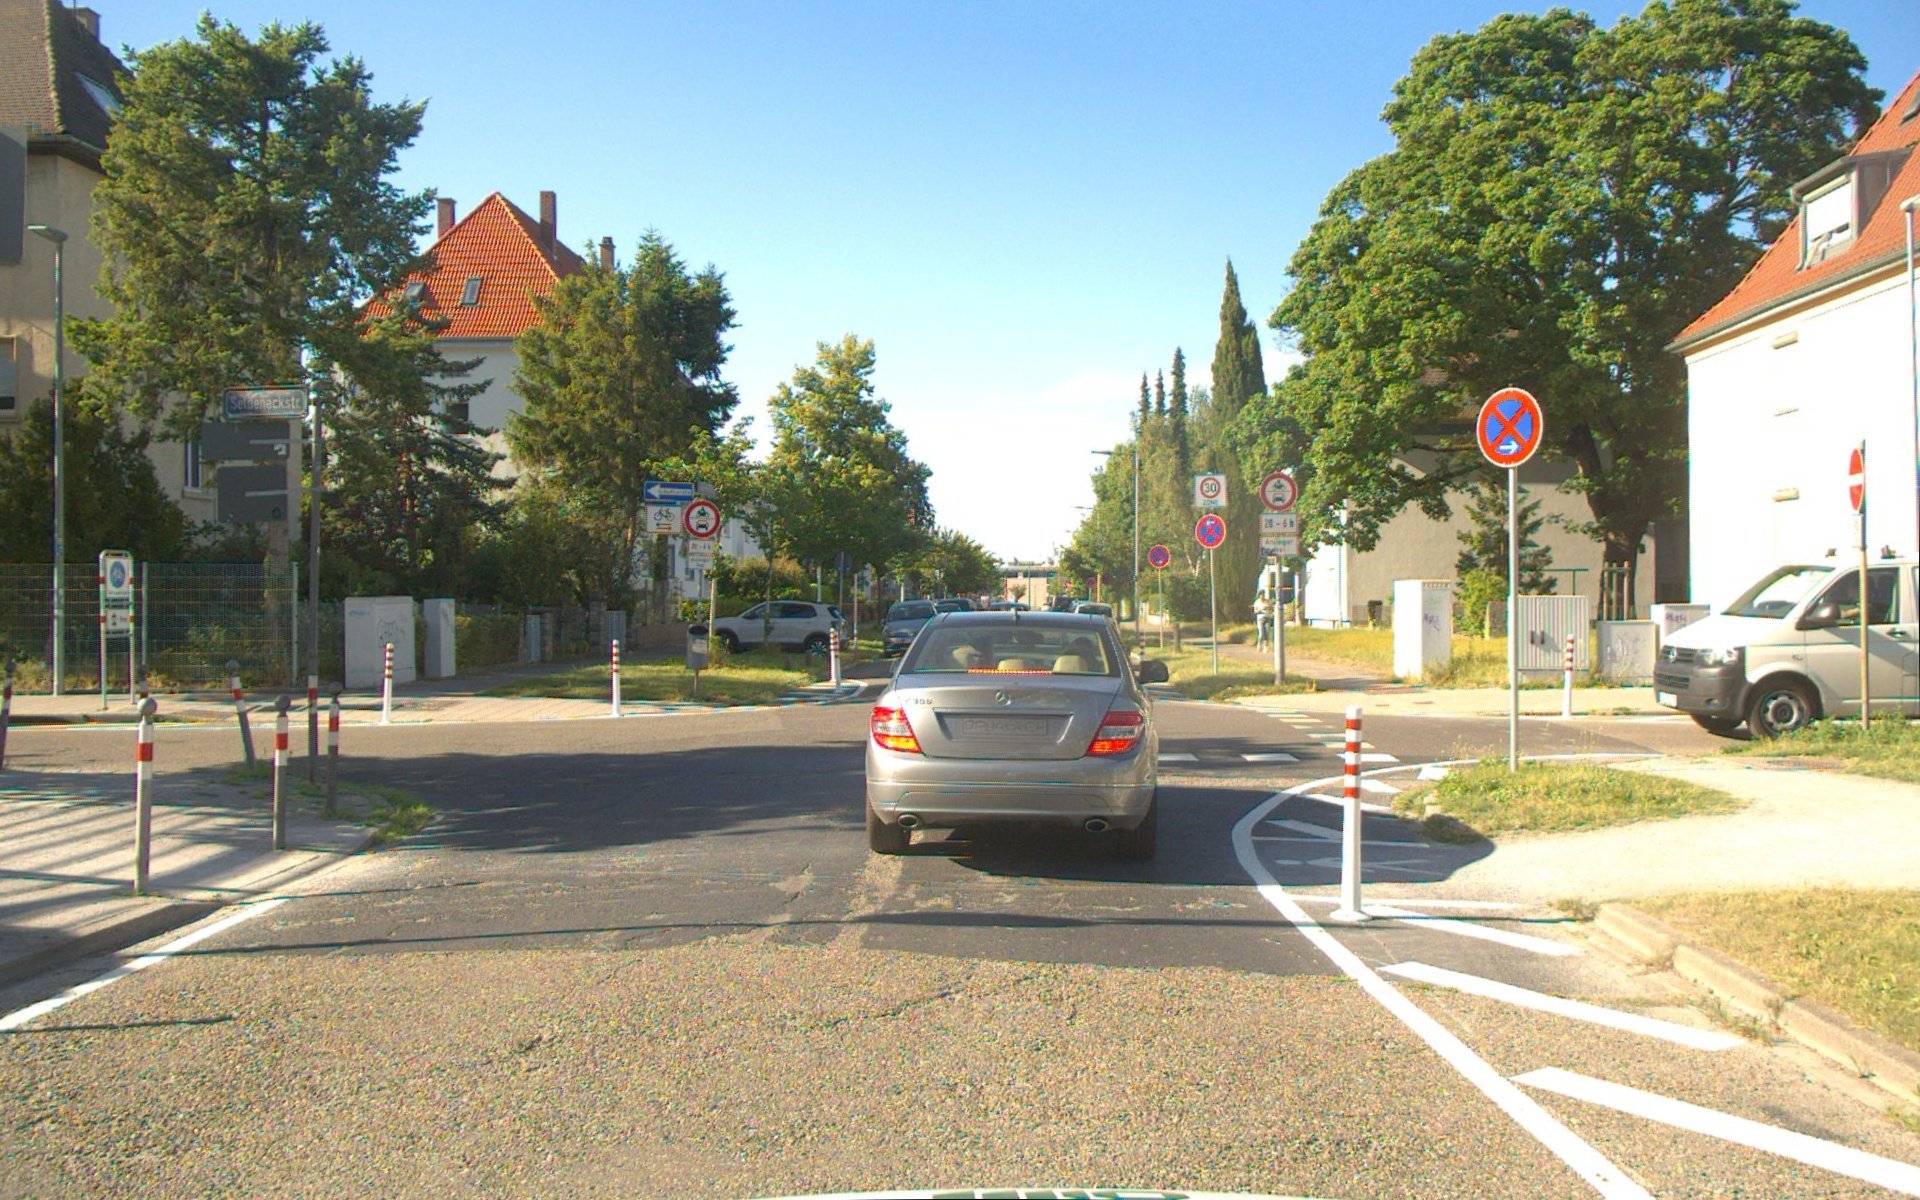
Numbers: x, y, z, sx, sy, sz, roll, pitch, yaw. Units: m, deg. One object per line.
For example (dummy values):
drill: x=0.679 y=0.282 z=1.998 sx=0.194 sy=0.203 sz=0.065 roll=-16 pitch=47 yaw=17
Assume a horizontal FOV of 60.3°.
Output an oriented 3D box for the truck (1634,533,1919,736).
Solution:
truck: x=10.148 y=0.337 z=18.068 sx=4.757 sy=2.071 sz=2.001 roll=-1 pitch=0 yaw=2

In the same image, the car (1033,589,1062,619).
car: x=5.655 y=0.269 z=107.137 sx=1.816 sy=1.873 sz=4.001 roll=-1 pitch=0 yaw=2

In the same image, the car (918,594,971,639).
car: x=-0.588 y=0.632 z=67.025 sx=1.953 sy=1.637 sz=4.000 roll=-4 pitch=0 yaw=0

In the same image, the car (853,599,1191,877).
car: x=0.449 y=0.729 z=10.805 sx=1.797 sy=1.466 sz=4.002 roll=0 pitch=0 yaw=3

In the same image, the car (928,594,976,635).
car: x=-0.344 y=0.612 z=72.818 sx=1.953 sy=1.637 sz=4.000 roll=-4 pitch=0 yaw=0

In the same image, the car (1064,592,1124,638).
car: x=5.010 y=0.527 z=62.126 sx=1.952 sy=1.638 sz=4.000 roll=-1 pitch=0 yaw=0

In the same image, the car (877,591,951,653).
car: x=-1.315 y=0.621 z=49.224 sx=1.953 sy=1.637 sz=4.000 roll=-4 pitch=0 yaw=0

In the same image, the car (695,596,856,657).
car: x=-4.881 y=0.687 z=44.208 sx=4.106 sy=1.591 sz=1.842 roll=0 pitch=0 yaw=-1

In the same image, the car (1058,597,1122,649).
car: x=4.006 y=0.679 z=51.289 sx=1.698 sy=1.505 sz=3.725 roll=-1 pitch=0 yaw=0

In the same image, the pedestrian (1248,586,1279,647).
pedestrian: x=8.205 y=0.449 z=44.786 sx=0.750 sy=1.639 sz=0.835 roll=-1 pitch=0 yaw=7

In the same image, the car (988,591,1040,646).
car: x=1.694 y=0.560 z=52.636 sx=1.564 sy=1.638 sz=3.644 roll=-1 pitch=0 yaw=0
